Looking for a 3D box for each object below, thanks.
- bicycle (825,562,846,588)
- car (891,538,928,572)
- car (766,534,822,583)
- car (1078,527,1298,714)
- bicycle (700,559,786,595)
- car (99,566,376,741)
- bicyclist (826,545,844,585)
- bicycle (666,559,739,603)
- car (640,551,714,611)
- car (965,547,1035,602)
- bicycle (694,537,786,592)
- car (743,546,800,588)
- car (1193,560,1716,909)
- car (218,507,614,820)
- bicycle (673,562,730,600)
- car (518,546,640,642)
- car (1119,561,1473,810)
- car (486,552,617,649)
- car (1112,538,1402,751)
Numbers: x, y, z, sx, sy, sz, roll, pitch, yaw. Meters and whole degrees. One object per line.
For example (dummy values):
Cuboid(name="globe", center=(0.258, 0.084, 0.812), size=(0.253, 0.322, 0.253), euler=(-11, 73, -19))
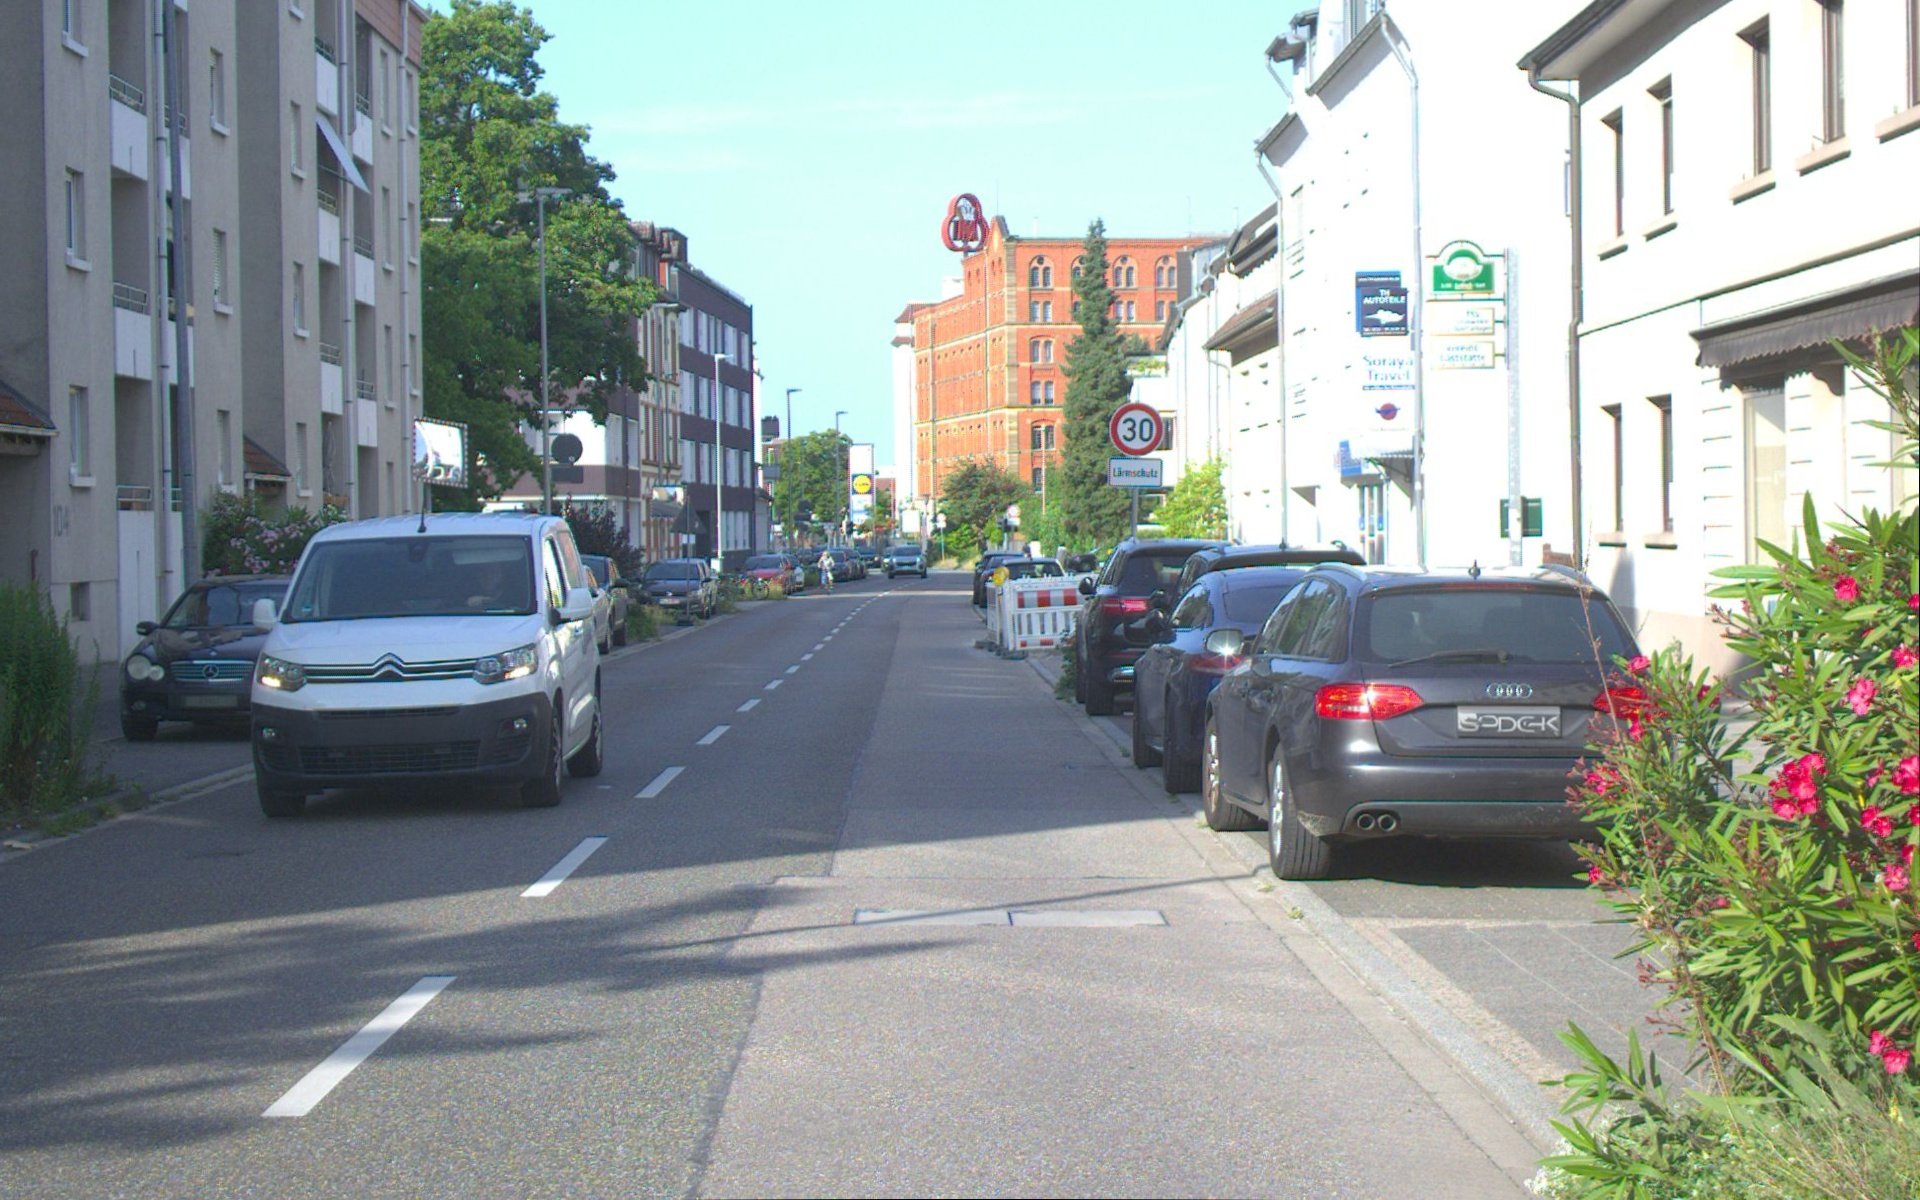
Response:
Cuboid(name="bicycle", center=(-4.457, -0.897, 122.802), size=(0.608, 0.939, 1.811), euler=(0, 1, 2))
Cuboid(name="car", center=(-2.506, -2.248, 170.546), size=(1.763, 1.611, 4.000), euler=(-1, 1, -1))
Cuboid(name="car", center=(-6.652, -1.681, 138.250), size=(1.993, 1.905, 3.689), euler=(-1, 1, 1))
Cuboid(name="car", center=(2.126, 0.210, 33.169), size=(1.830, 1.624, 4.463), euler=(2, -1, 1))
Cuboid(name="bicycle", center=(-7.205, -0.767, 114.425), size=(2.773, 1.140, 1.143), euler=(-1, 1, 1))
Cuboid(name="car", center=(-6.299, 0.422, 30.371), size=(1.686, 1.401, 4.084), euler=(0, 1, -1))
Cuboid(name="bicyclist", center=(-4.455, -1.247, 122.854), size=(0.591, 1.437, 0.750), euler=(0, 1, 2))
Cuboid(name="bicycle", center=(-7.175, -0.527, 95.835), size=(2.000, 1.213, 0.708), euler=(-1, 1, -6))
Cuboid(name="car", center=(-6.884, -0.473, 83.851), size=(1.573, 1.415, 3.804), euler=(0, 1, -1))
Cuboid(name="car", center=(1.114, -0.728, 96.981), size=(1.859, 1.467, 4.000), euler=(1, 1, -1))
Cuboid(name="bicycle", center=(-7.202, -1.165, 112.647), size=(2.918, 1.771, 1.202), euler=(-1, 1, 1))
Cuboid(name="car", center=(-6.694, -1.181, 122.355), size=(1.840, 1.459, 3.585), euler=(-1, 1, 0))
Cuboid(name="car", center=(2.242, 0.542, 16.754), size=(1.779, 1.415, 4.497), euler=(-1, 1, -2))
Cuboid(name="car", center=(-3.329, 0.320, 21.847), size=(1.922, 1.761, 4.338), euler=(-1, 1, -2))
Cuboid(name="bicycle", center=(-7.325, -0.537, 97.408), size=(1.584, 1.037, 0.708), euler=(-1, 1, -5))
Cuboid(name="car", center=(-6.538, -0.137, 59.367), size=(1.686, 1.597, 4.370), euler=(0, 1, -1))
Cuboid(name="car", center=(2.098, 0.477, 22.647), size=(1.830, 1.415, 4.609), euler=(-1, 1, 0))
Cuboid(name="car", center=(-6.407, -0.015, 54.268), size=(1.686, 1.449, 4.141), euler=(0, 1, -2))
Cuboid(name="car", center=(2.326, 0.300, 27.971), size=(1.830, 1.555, 4.318), euler=(-1, 1, -2))
